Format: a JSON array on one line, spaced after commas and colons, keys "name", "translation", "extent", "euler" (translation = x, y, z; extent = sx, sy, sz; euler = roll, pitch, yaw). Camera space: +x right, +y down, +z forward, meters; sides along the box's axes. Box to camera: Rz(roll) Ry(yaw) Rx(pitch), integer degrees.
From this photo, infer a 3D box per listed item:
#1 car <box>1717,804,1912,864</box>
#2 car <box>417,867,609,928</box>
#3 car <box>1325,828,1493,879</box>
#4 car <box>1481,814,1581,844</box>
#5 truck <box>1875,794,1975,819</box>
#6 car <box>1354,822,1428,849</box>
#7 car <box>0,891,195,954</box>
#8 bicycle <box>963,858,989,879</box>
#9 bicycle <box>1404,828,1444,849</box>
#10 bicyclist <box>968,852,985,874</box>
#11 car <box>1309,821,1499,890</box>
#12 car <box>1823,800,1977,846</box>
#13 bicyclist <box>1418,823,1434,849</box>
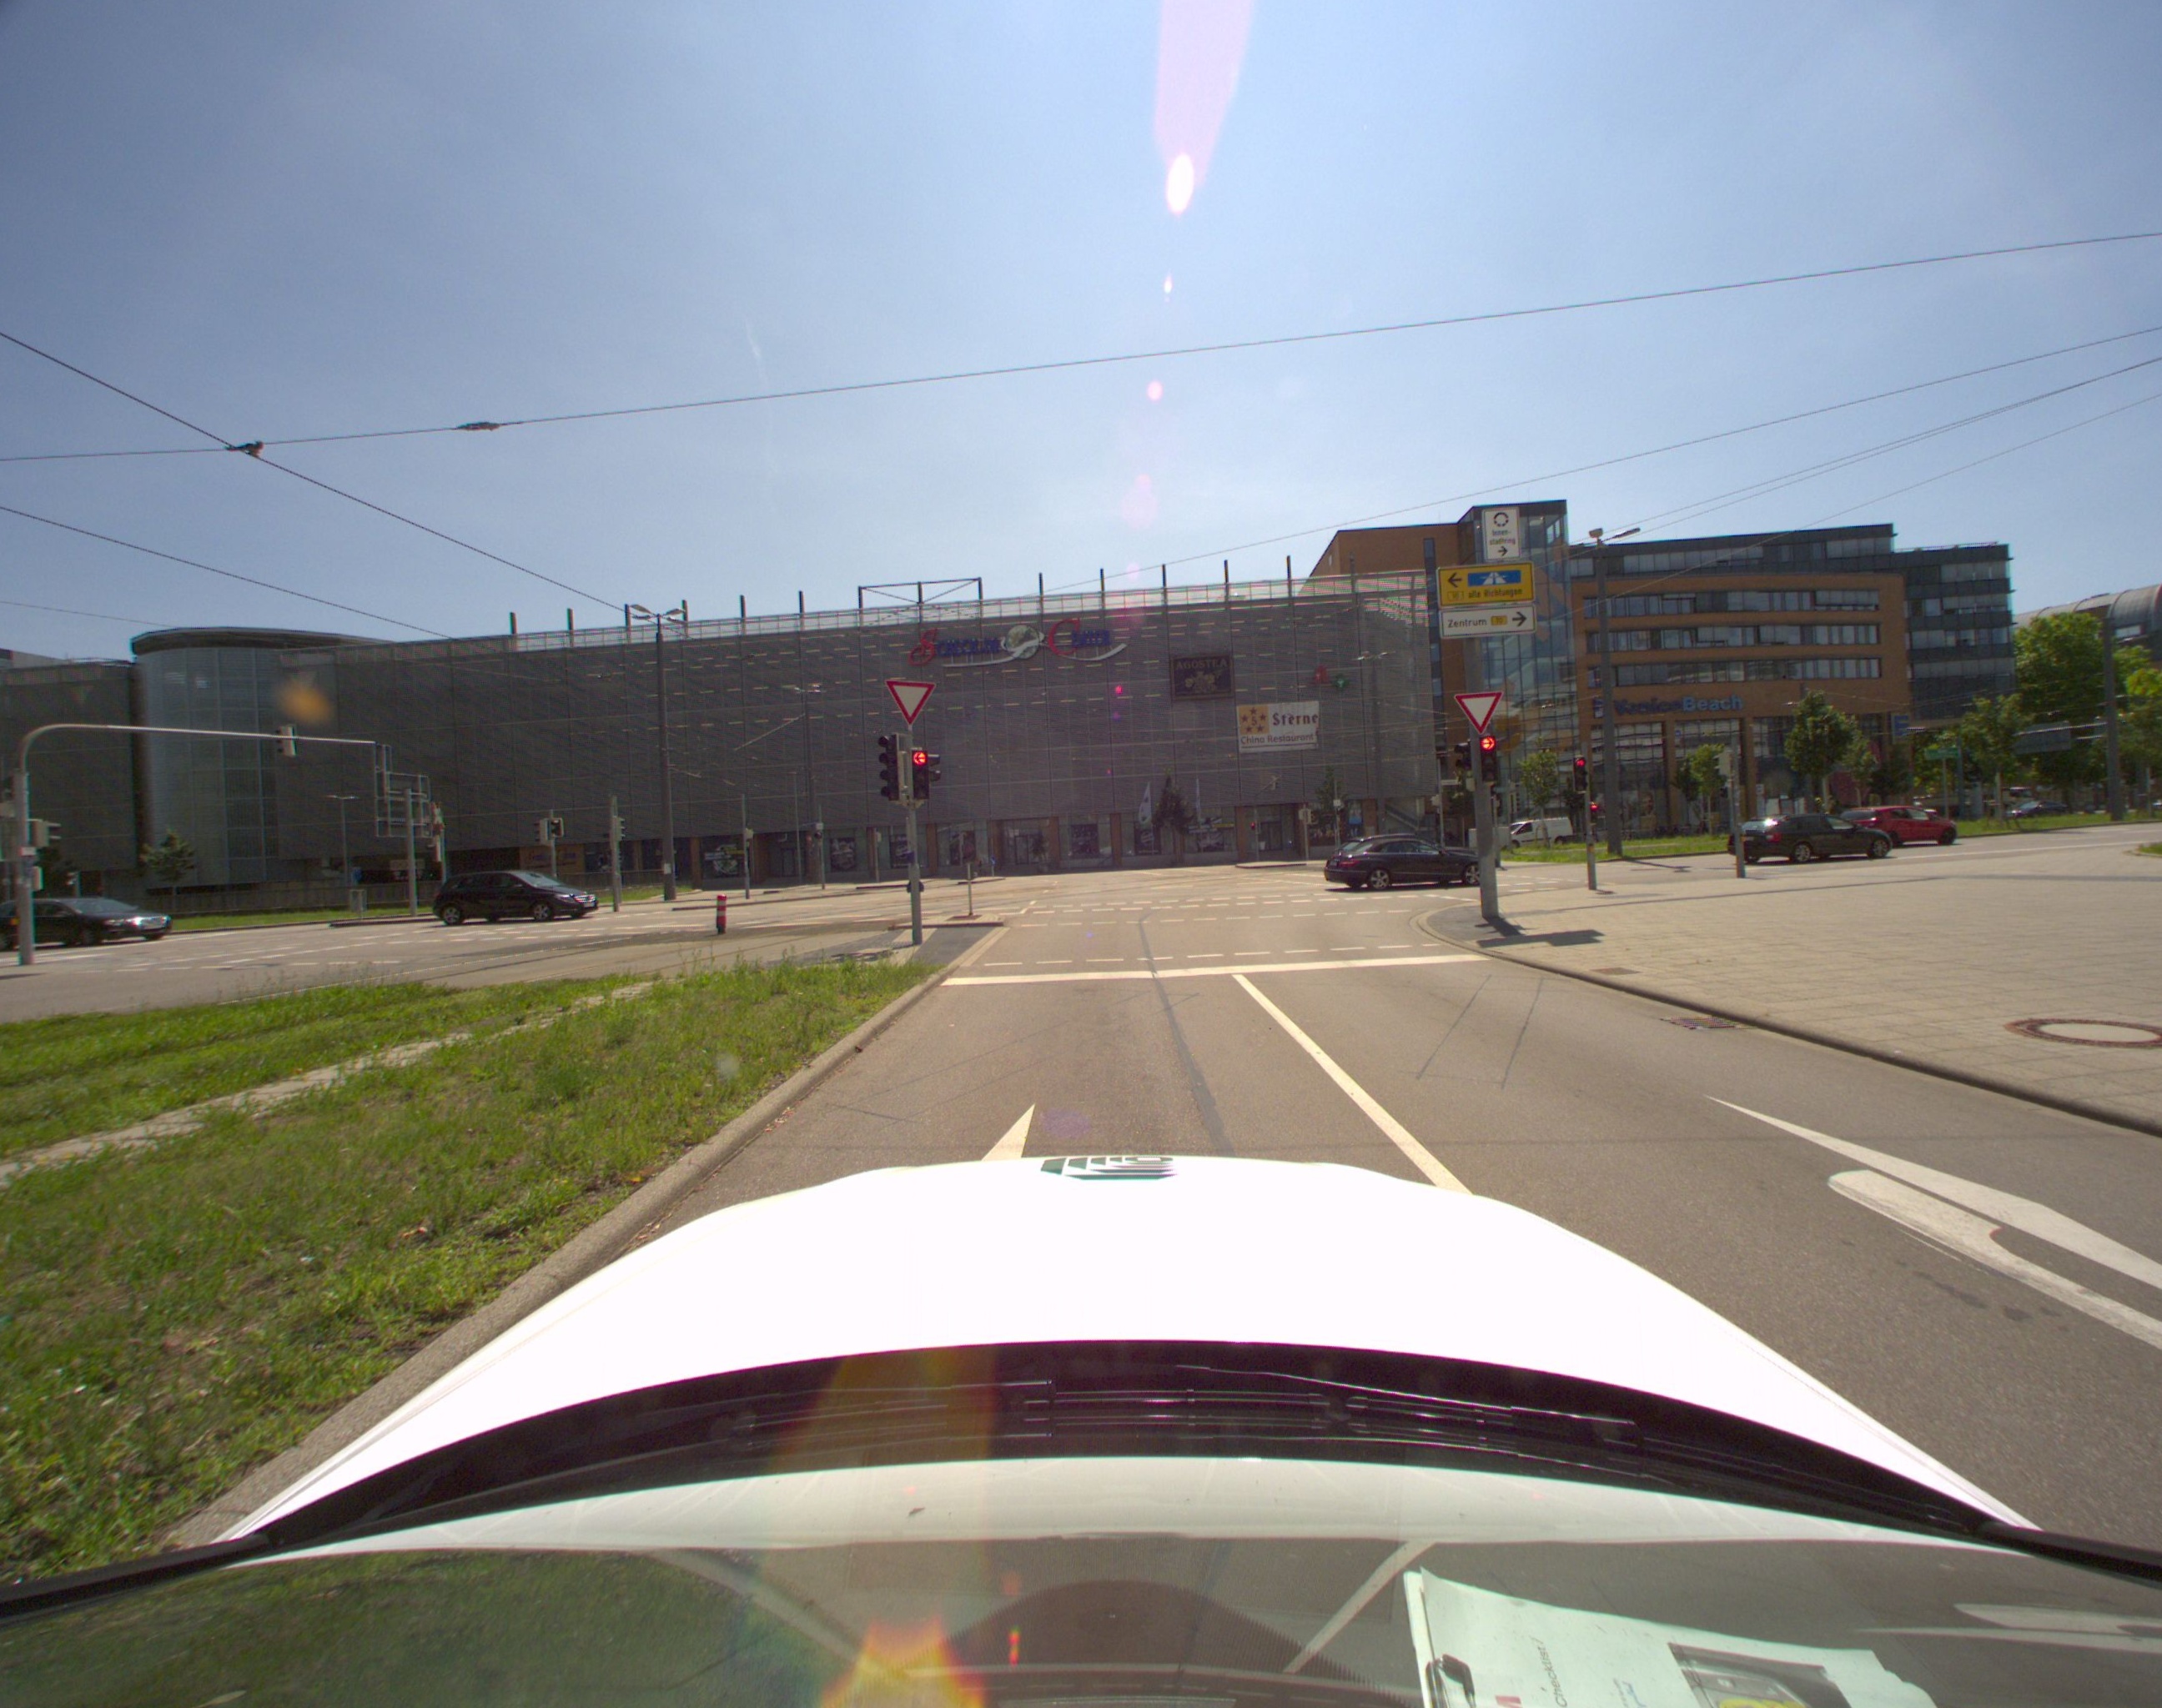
[{"name": "car", "translation": [22.410, -0.616, 24.981], "extent": [4.518, 1.508, 1.839], "euler": [-3, 1, -5]}, {"name": "car", "translation": [-17.179, 1.294, 24.806], "extent": [4.308, 1.553, 1.999], "euler": [-2, 1, -2]}, {"name": "car", "translation": [10.698, -0.034, 26.807], "extent": [4.750, 1.460, 1.887], "euler": [-2, 1, -1]}, {"name": "car", "translation": [28.967, -1.598, 52.516], "extent": [5.451, 1.668, 1.998], "euler": [-2, 1, -3]}, {"name": "truck", "translation": [111.124, -6.174, 107.434], "extent": [1.999, 2.808, 9.184], "euler": [-2, 1, -18]}, {"name": "car", "translation": [19.796, -1.199, 52.089], "extent": [3.973, 1.538, 1.881], "euler": [-2, 1, 0]}, {"name": "car", "translation": [-30.878, 2.097, 25.015], "extent": [4.845, 1.580, 1.998], "euler": [-2, 1, -4]}, {"name": "bicycle", "translation": [-7.841, 1.075, 61.238], "extent": [1.055, 1.390, 3.032], "euler": [-2, 1, 10]}, {"name": "bicycle", "translation": [27.402, -1.223, 65.037], "extent": [2.836, 1.557, 0.706], "euler": [-2, 1, 5]}, {"name": "bicyclist", "translation": [-7.870, 0.693, 61.143], "extent": [1.033, 1.571, 0.779], "euler": [-2, 1, 9]}, {"name": "car", "translation": [9.054, 0.030, 23.076], "extent": [4.538, 1.576, 1.998], "euler": [-4, 1, -3]}, {"name": "car", "translation": [29.529, -1.101, 29.418], "extent": [4.124, 1.508, 1.837], "euler": [-2, 1, -9]}, {"name": "bicyclist", "translation": [27.509, -1.418, 64.993], "extent": [0.908, 2.013, 0.749], "euler": [-2, 1, 4]}]
